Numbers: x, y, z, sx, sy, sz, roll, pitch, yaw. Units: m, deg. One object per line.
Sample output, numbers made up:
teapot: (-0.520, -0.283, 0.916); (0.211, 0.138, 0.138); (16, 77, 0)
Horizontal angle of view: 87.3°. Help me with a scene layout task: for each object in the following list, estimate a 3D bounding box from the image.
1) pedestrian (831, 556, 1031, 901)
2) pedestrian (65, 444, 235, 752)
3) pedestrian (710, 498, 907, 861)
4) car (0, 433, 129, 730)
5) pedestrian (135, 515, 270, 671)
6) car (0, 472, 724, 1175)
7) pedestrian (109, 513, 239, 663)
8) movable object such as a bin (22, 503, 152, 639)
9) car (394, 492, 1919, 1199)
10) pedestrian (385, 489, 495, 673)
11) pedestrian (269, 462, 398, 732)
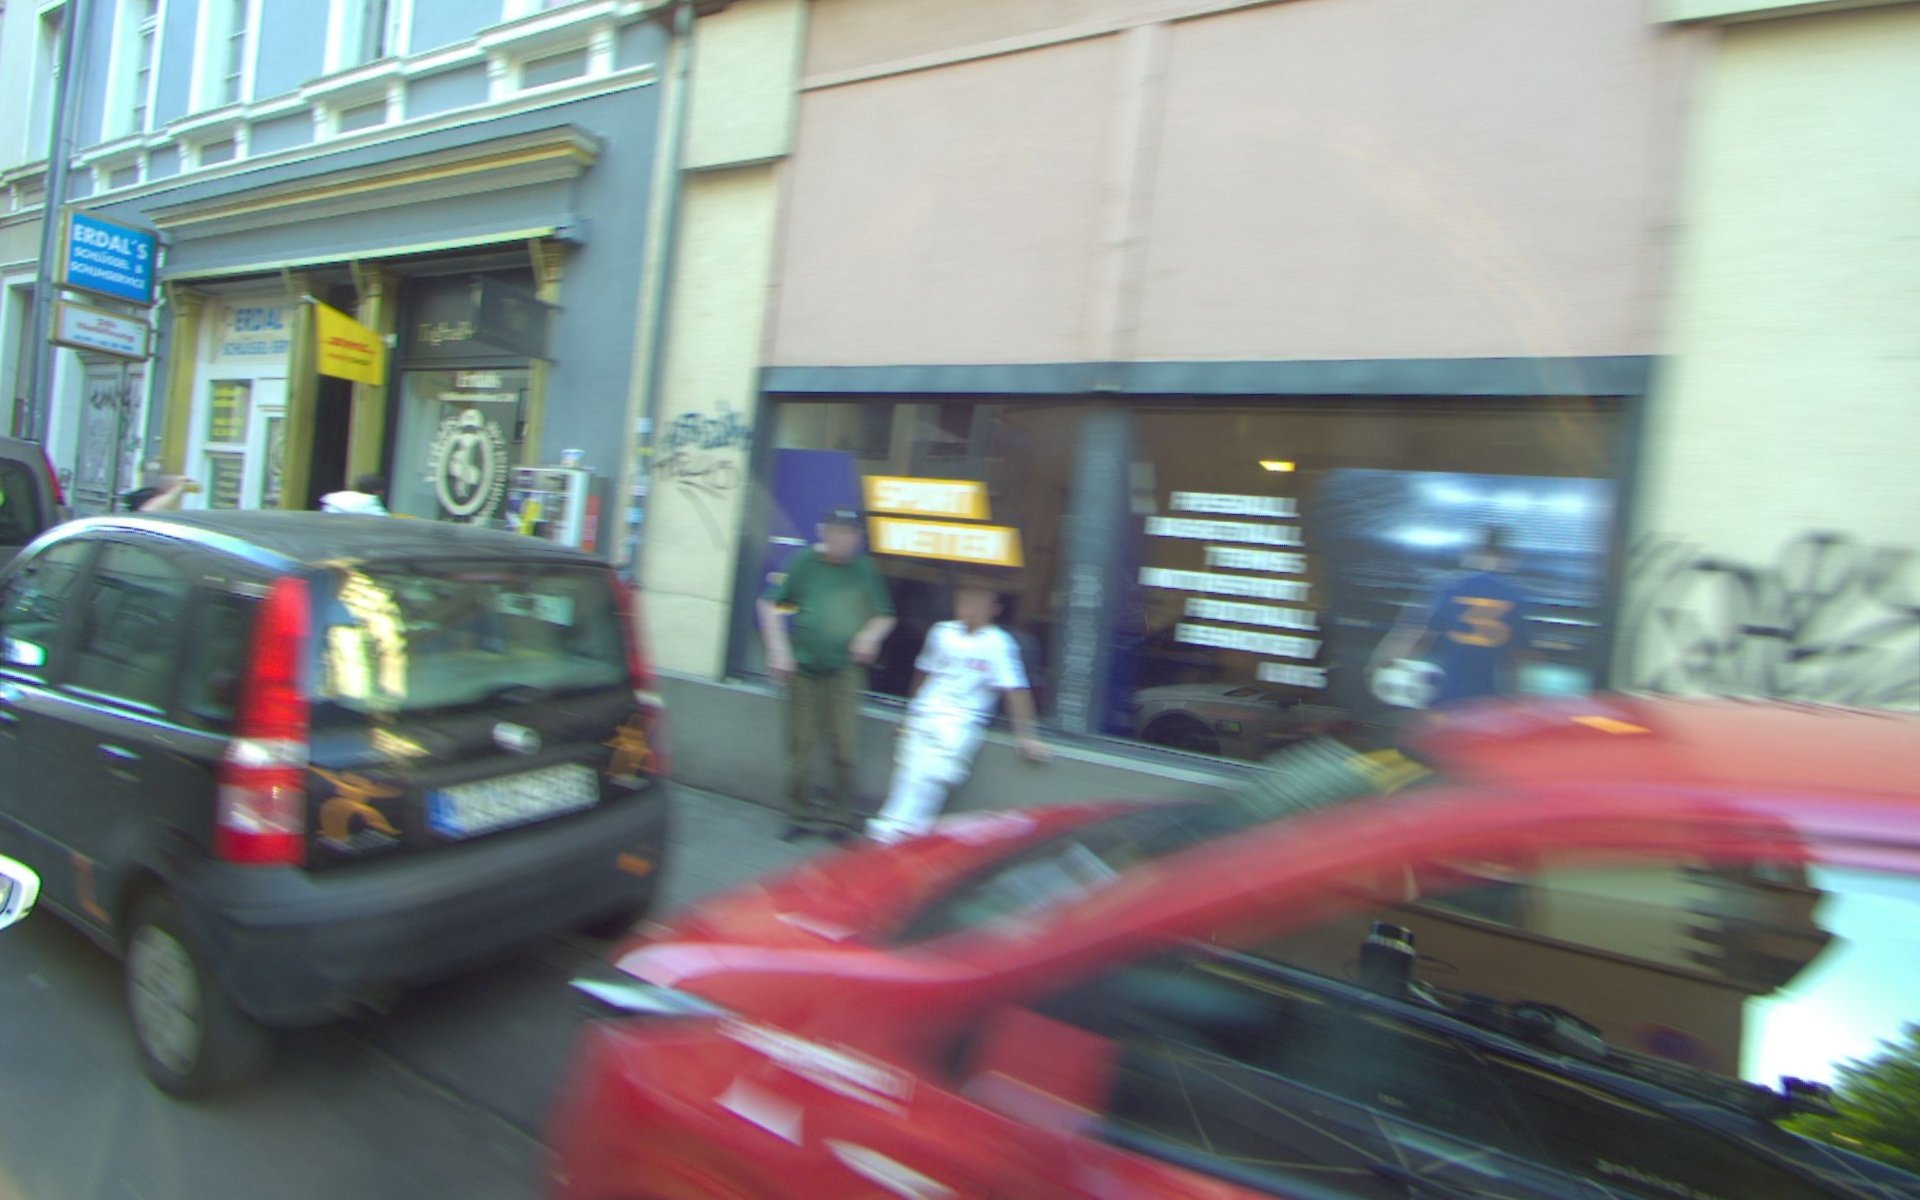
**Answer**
pedestrian: (-0.132, 0.608, 5.034); (0.647, 1.548, 0.589); (6, 0, 24)
pedestrian: (-4.806, -0.020, 5.974); (0.643, 1.725, 0.442); (6, 0, 30)
pedestrian: (-0.794, 0.405, 5.395); (0.646, 1.761, 0.631); (6, 0, 17)
car: (-7.881, -0.330, 6.868); (4.242, 1.815, 1.903); (6, -1, 30)
pedestrian: (-6.805, -0.053, 9.051); (0.643, 1.292, 0.676); (6, -1, 32)
car: (-2.675, 0.399, 3.795); (3.259, 1.578, 1.569); (6, 3, 32)
pedestrian: (-7.362, -0.103, 9.432); (0.618, 1.292, 0.676); (6, -1, 32)
movable object such as a bin: (-8.687, -0.270, 10.025); (0.570, 1.259, 0.763); (6, 2, 27)
car: (1.001, 0.839, 1.494); (3.493, 1.591, 1.610); (6, -1, 30)
pedestrian: (-3.764, -0.129, 7.313); (0.524, 1.237, 0.512); (7, 0, -20)
pedestrian: (-4.311, -0.010, 6.954); (0.556, 1.761, 0.425); (7, 0, -27)
